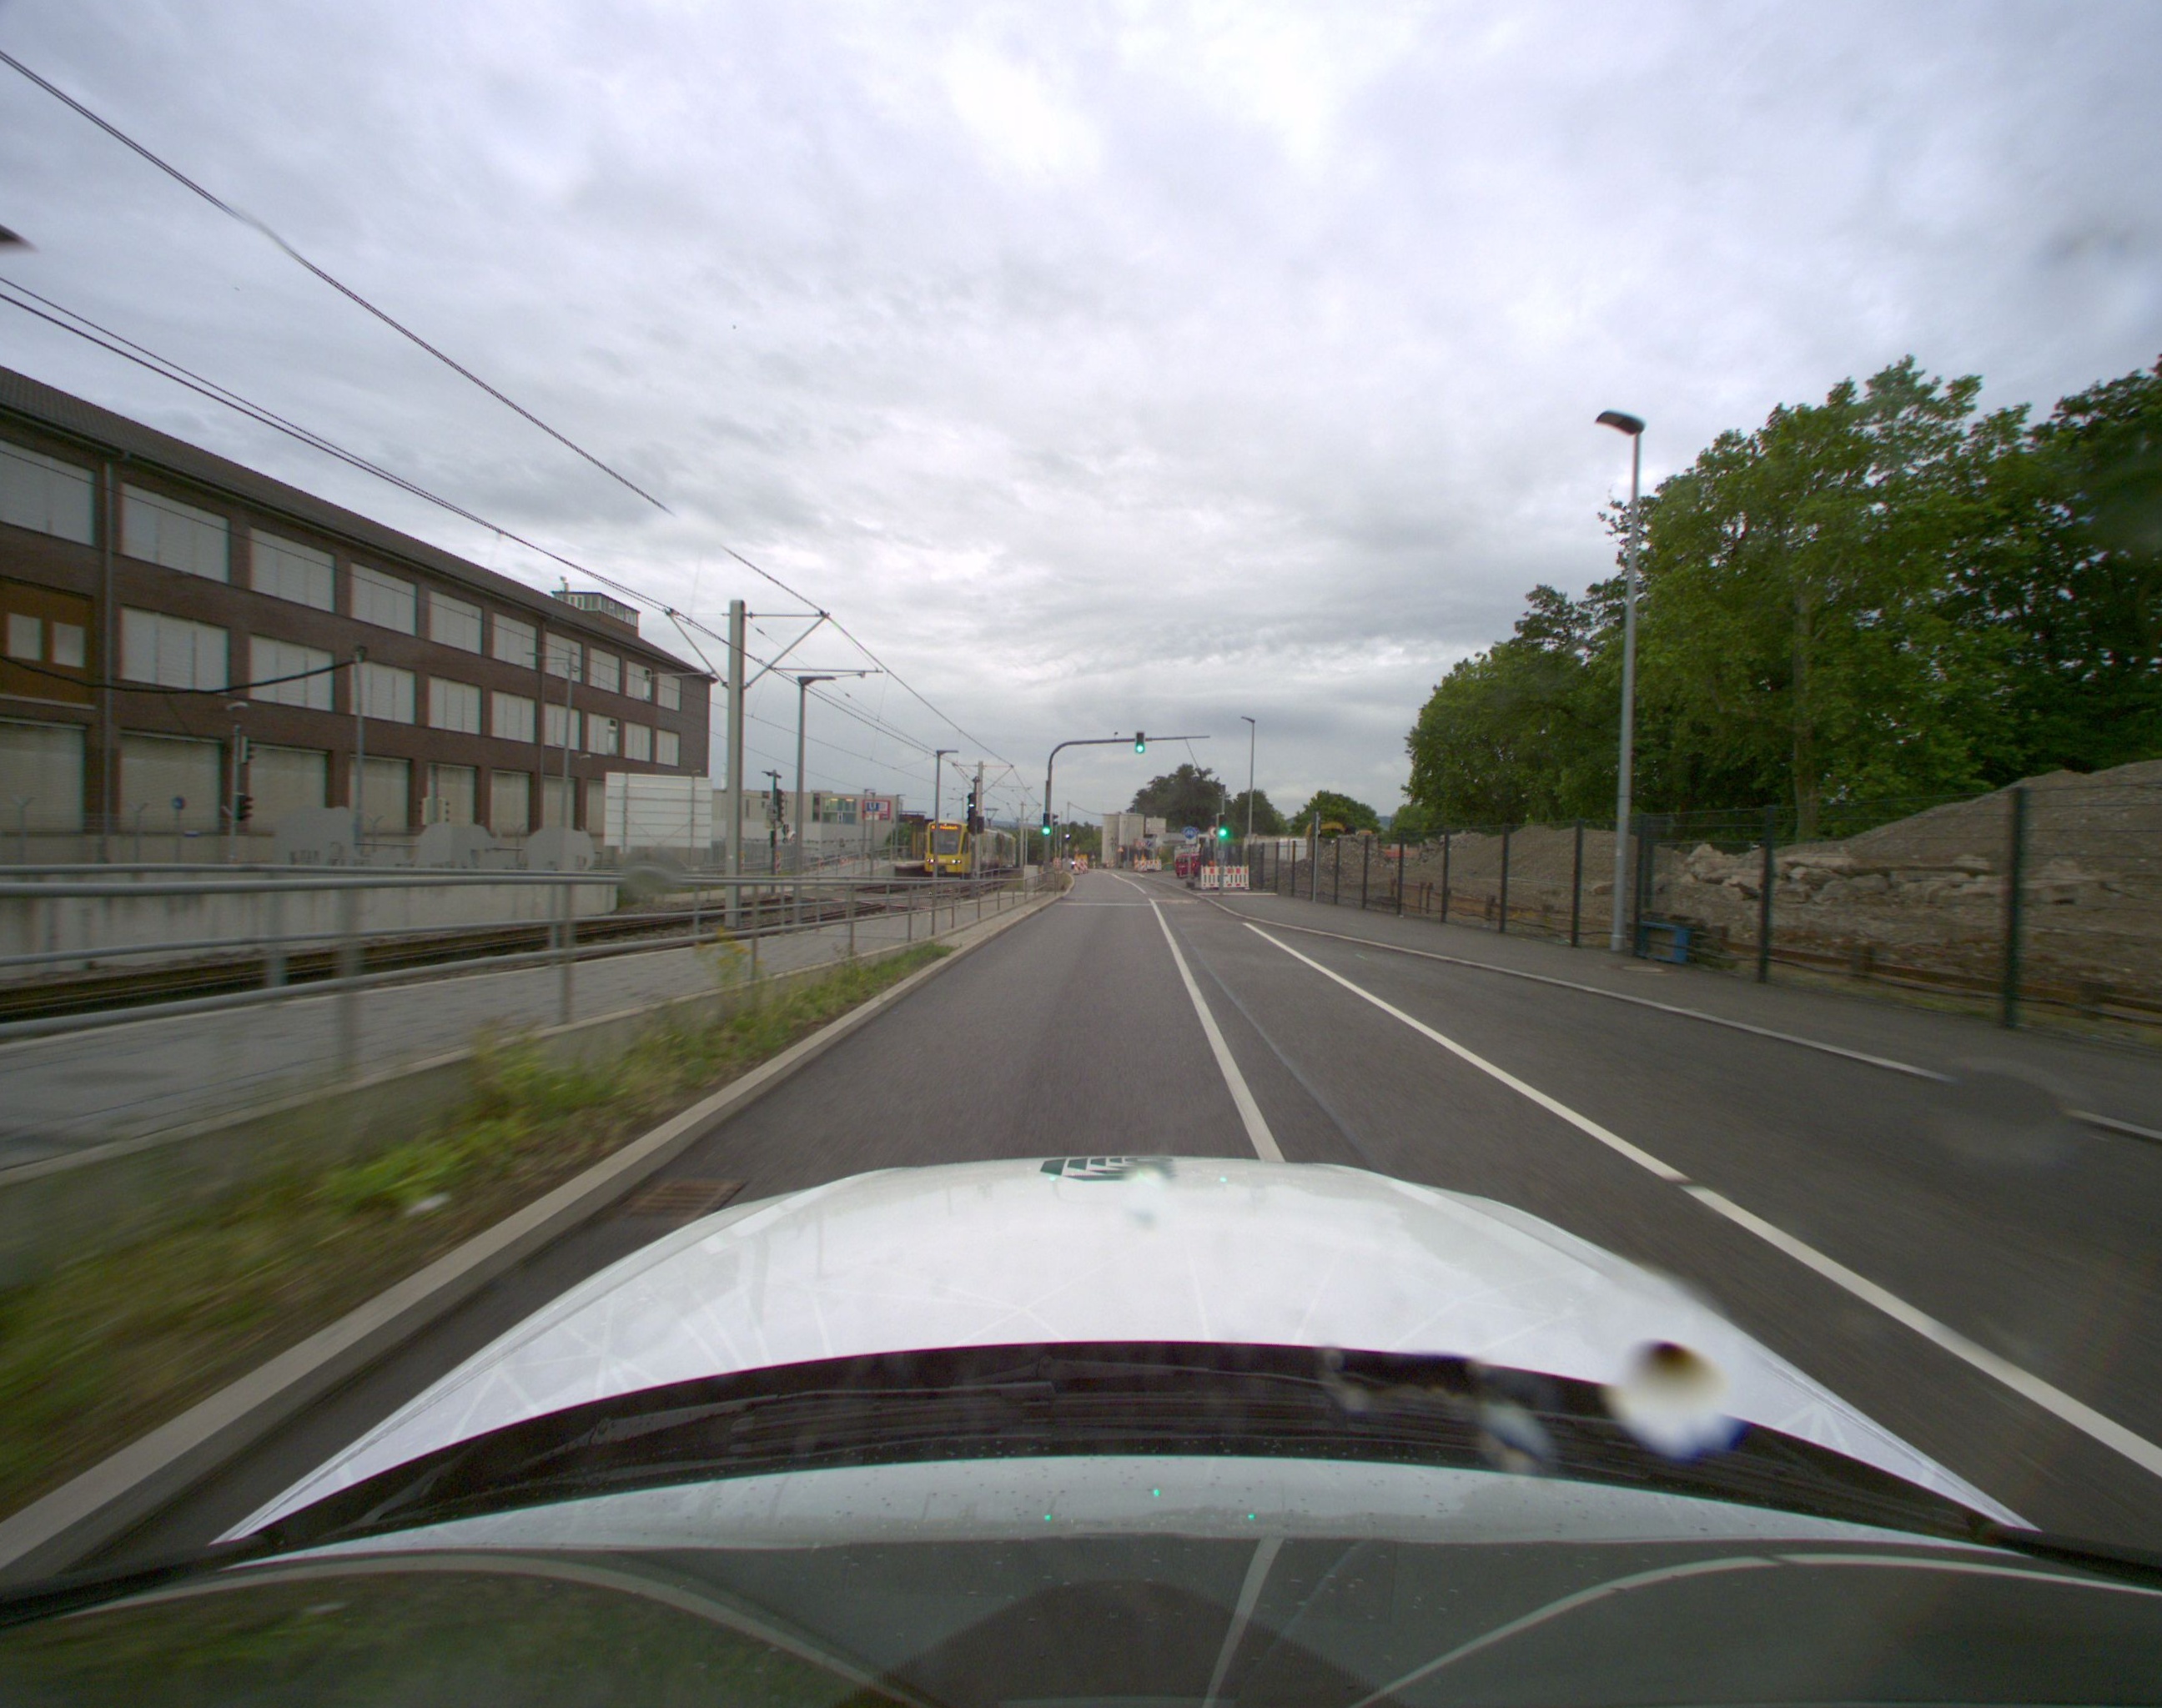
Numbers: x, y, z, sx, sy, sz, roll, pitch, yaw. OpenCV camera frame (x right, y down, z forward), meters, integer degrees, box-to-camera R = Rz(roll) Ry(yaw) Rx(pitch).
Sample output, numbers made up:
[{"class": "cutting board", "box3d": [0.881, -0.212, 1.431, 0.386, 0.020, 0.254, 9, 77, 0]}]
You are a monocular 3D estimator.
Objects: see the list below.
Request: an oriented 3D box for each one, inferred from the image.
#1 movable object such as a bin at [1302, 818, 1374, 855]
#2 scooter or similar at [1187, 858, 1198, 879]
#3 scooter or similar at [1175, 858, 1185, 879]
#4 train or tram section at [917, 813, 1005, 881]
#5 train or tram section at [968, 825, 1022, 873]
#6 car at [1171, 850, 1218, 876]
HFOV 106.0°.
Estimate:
[{"class": "movable object such as a bin", "box3d": [42.886, -2.908, 136.306, 11.170, 5.996, 3.498, 0, -1, 7]}, {"class": "scooter or similar", "box3d": [7.336, 0.960, 53.548, 0.612, 1.351, 1.915, 1, 0, 6]}, {"class": "scooter or similar", "box3d": [6.494, 0.961, 53.689, 0.612, 1.351, 1.915, 1, 0, 6]}, {"class": "train or tram section", "box3d": [-8.030, -0.380, 58.006, 2.945, 3.886, 19.574, 2, 0, 1]}, {"class": "train or tram section", "box3d": [-7.839, -0.368, 77.404, 2.946, 3.886, 19.286, 2, 0, 0]}, {"class": "car", "box3d": [8.287, 0.637, 59.252, 1.802, 1.794, 4.436, 1, 0, 31]}]
